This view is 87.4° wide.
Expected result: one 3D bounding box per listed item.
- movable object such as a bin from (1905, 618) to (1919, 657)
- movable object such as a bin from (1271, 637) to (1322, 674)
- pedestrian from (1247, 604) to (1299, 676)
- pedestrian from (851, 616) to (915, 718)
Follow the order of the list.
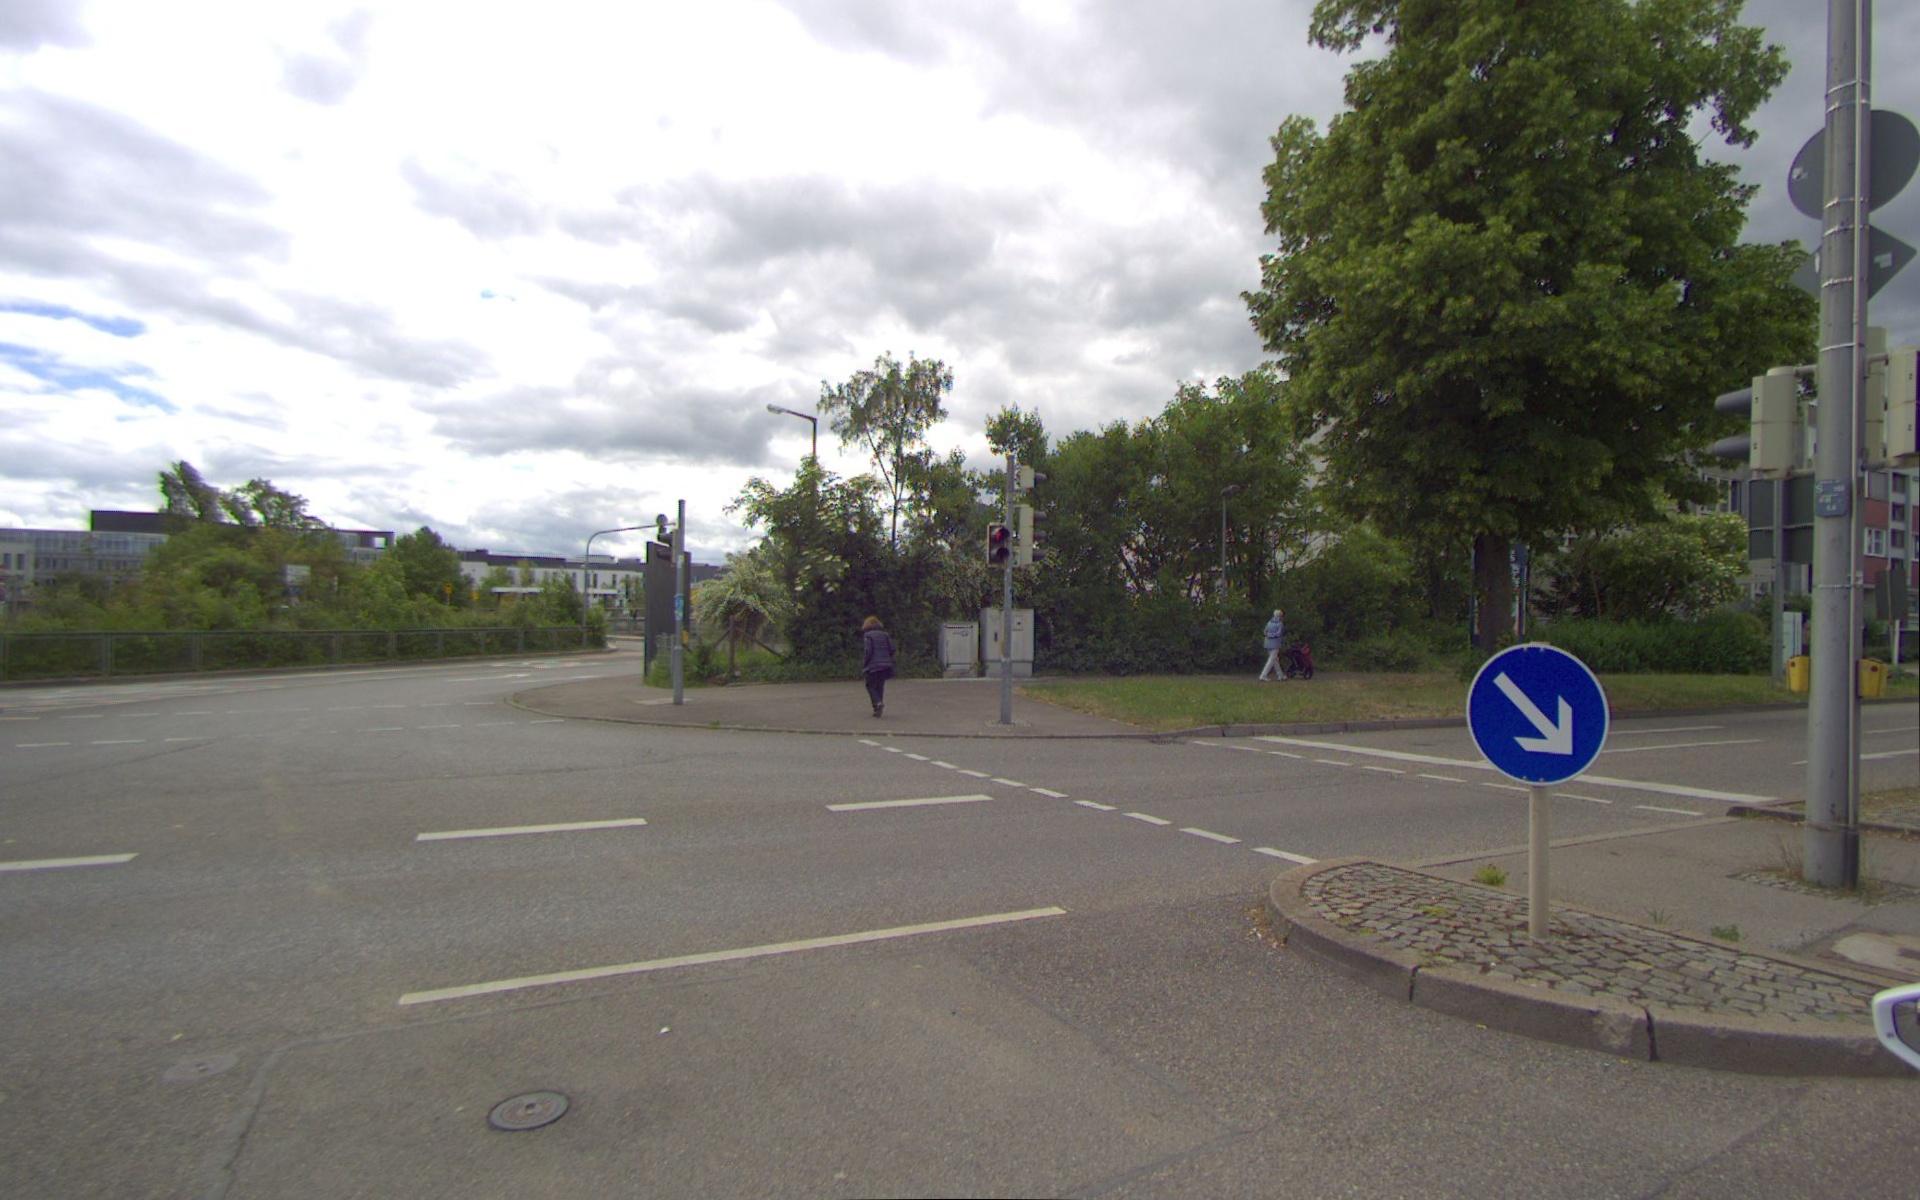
[{"bbox_3d":[51.395,2.000,52.931,1.525,2.040,1.984,1,-1,-30],"label":"movable object such as a bin"},{"bbox_3d":[7.499,1.228,22.390,0.887,0.809,0.652,1,-1,-33],"label":"movable object such as a bin"},{"bbox_3d":[6.842,0.862,21.965,0.913,1.542,0.652,1,-1,-33],"label":"pedestrian"},{"bbox_3d":[-1.146,0.974,14.872,0.596,1.426,0.766,-1,2,-42],"label":"pedestrian"}]
